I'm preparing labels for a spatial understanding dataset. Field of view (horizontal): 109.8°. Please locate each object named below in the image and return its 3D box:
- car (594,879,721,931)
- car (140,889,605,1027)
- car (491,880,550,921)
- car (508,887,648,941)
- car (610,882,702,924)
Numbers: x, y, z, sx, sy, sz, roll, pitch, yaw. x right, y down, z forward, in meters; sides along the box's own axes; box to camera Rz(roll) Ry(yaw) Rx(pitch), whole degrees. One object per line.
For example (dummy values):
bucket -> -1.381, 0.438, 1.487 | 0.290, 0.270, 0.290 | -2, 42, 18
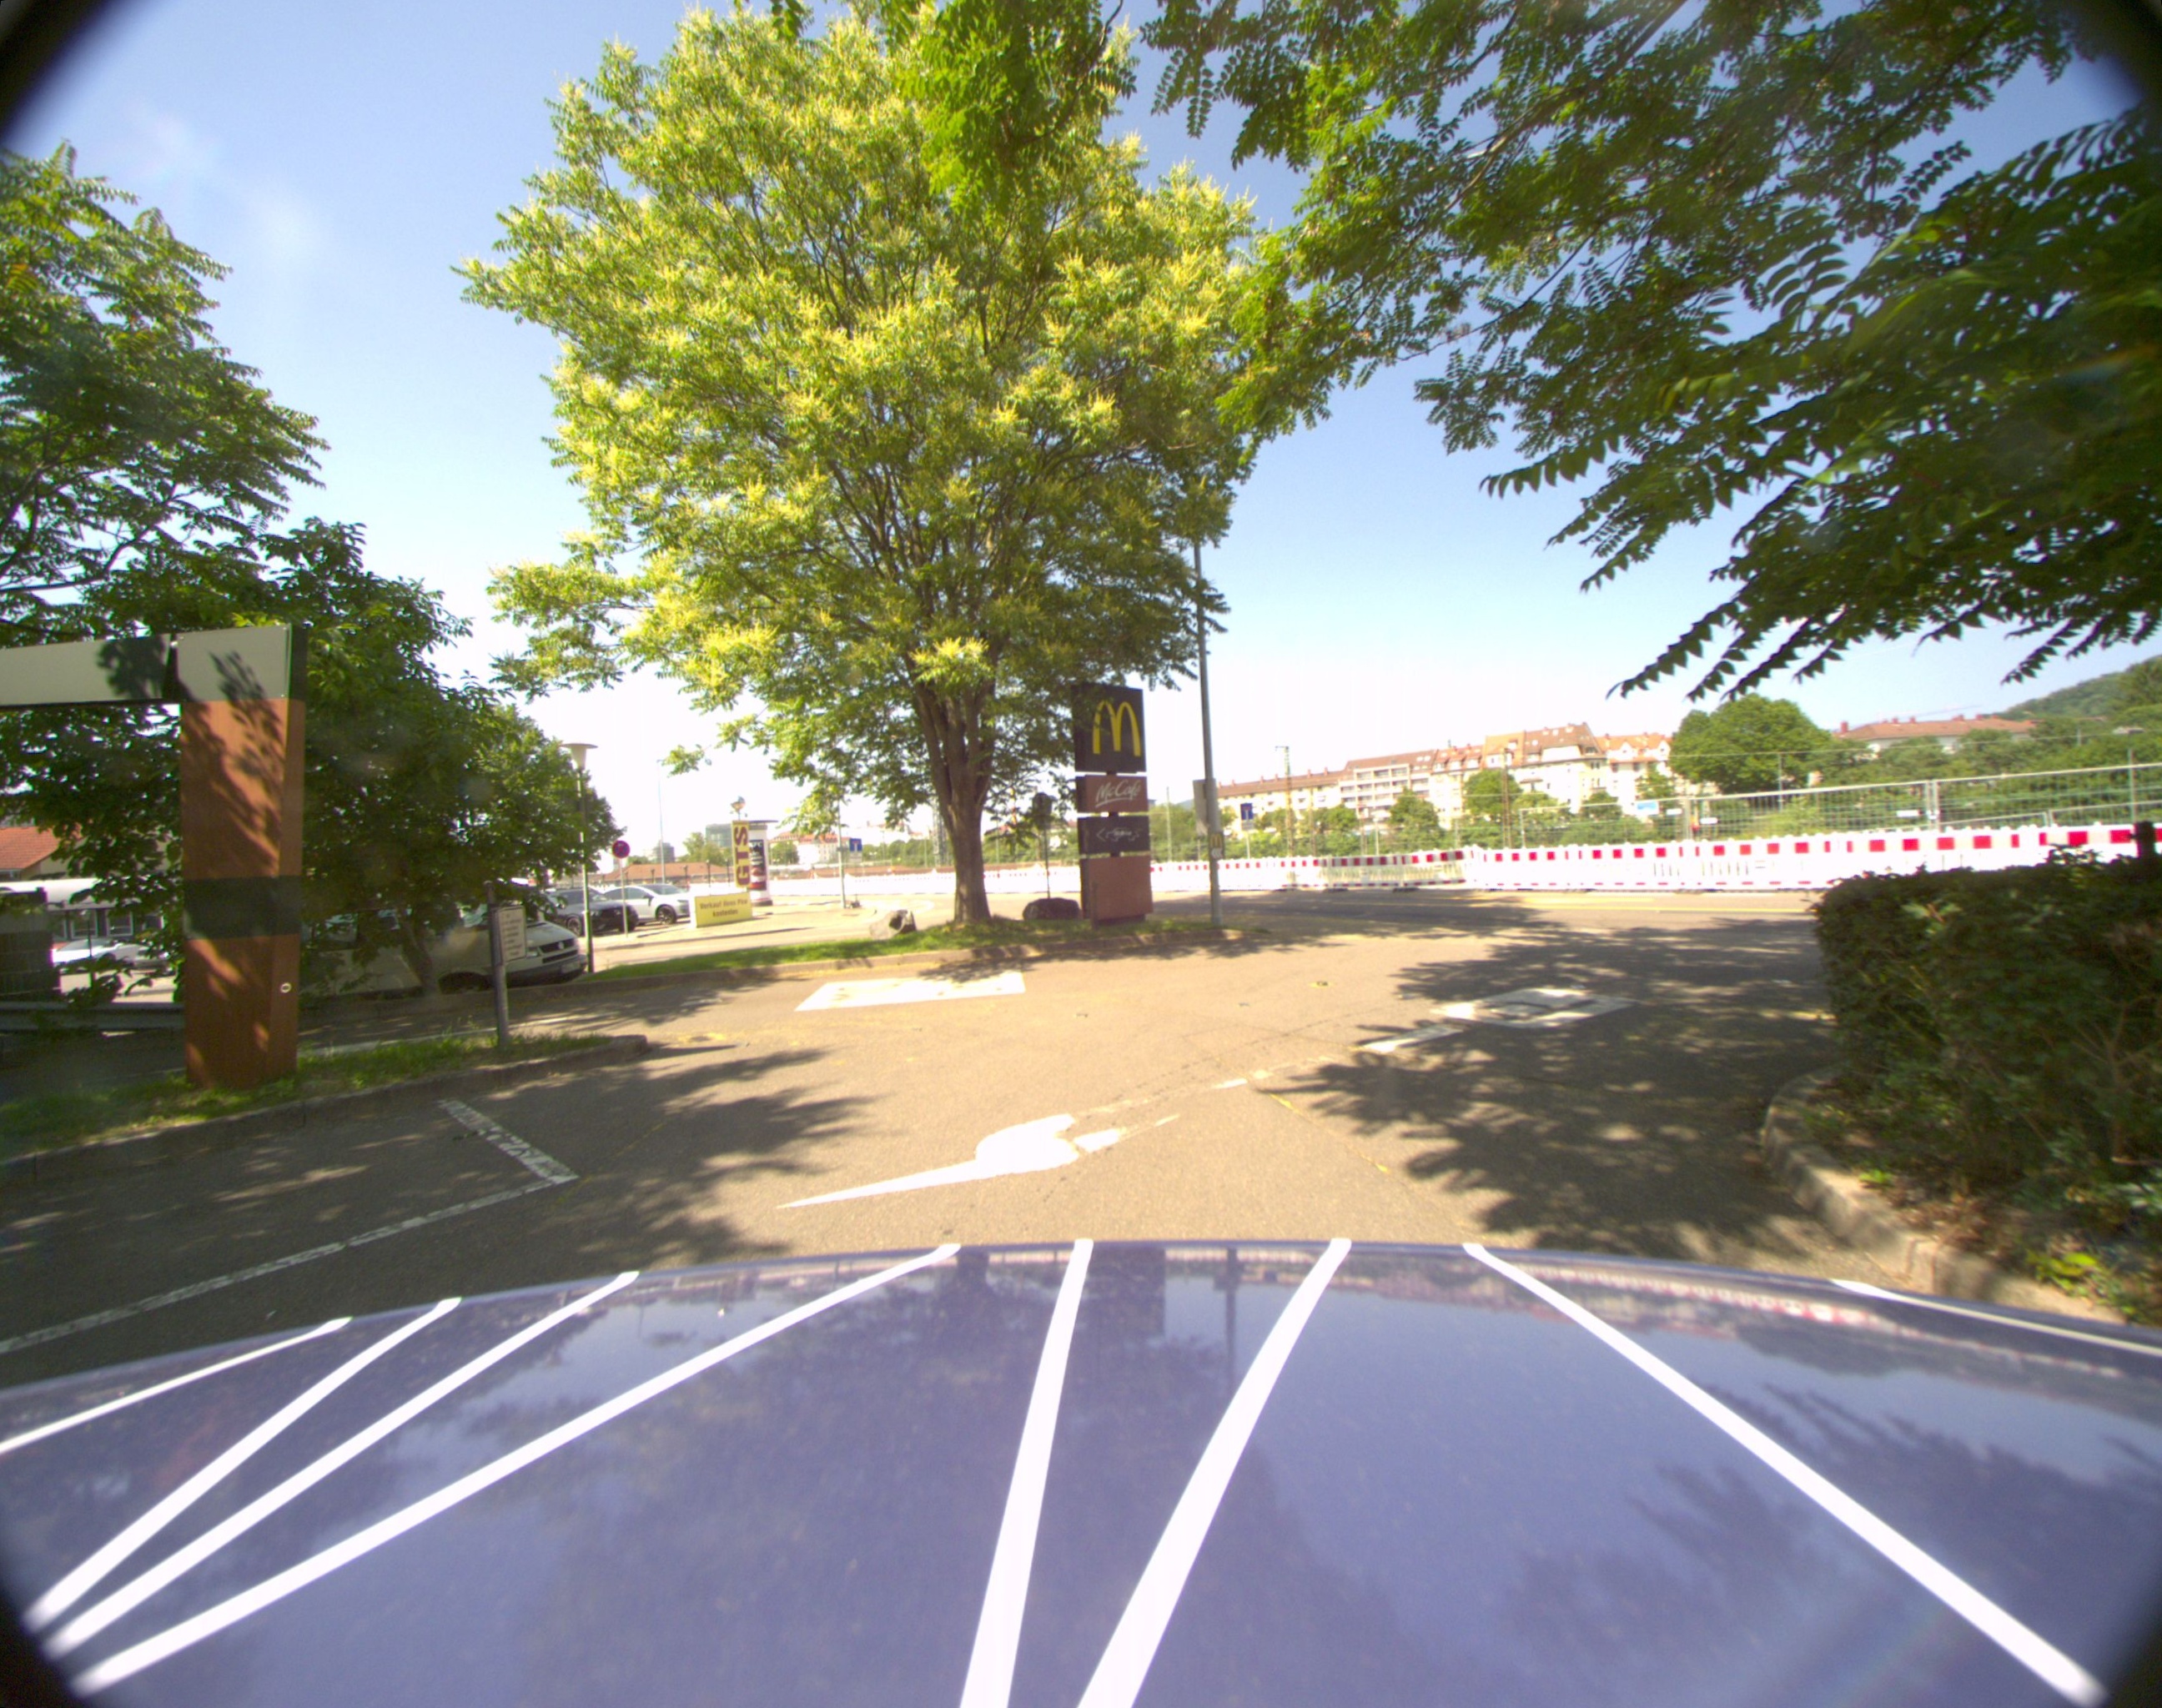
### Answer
car -> -16.636, 1.994, 29.918 | 3.993, 1.715, 2.002 | -4, -1, 14
car -> -10.348, 1.474, 11.440 | 5.028, 1.573, 1.958 | -3, -1, -2
car -> -26.664, 2.196, 36.080 | 1.887, 1.727, 4.710 | -2, -1, -40
car -> -17.742, 2.121, 26.780 | 4.413, 1.585, 2.057 | -4, -1, 26
car -> -18.996, 2.199, 33.916 | 3.990, 1.619, 1.866 | -4, 0, 34
